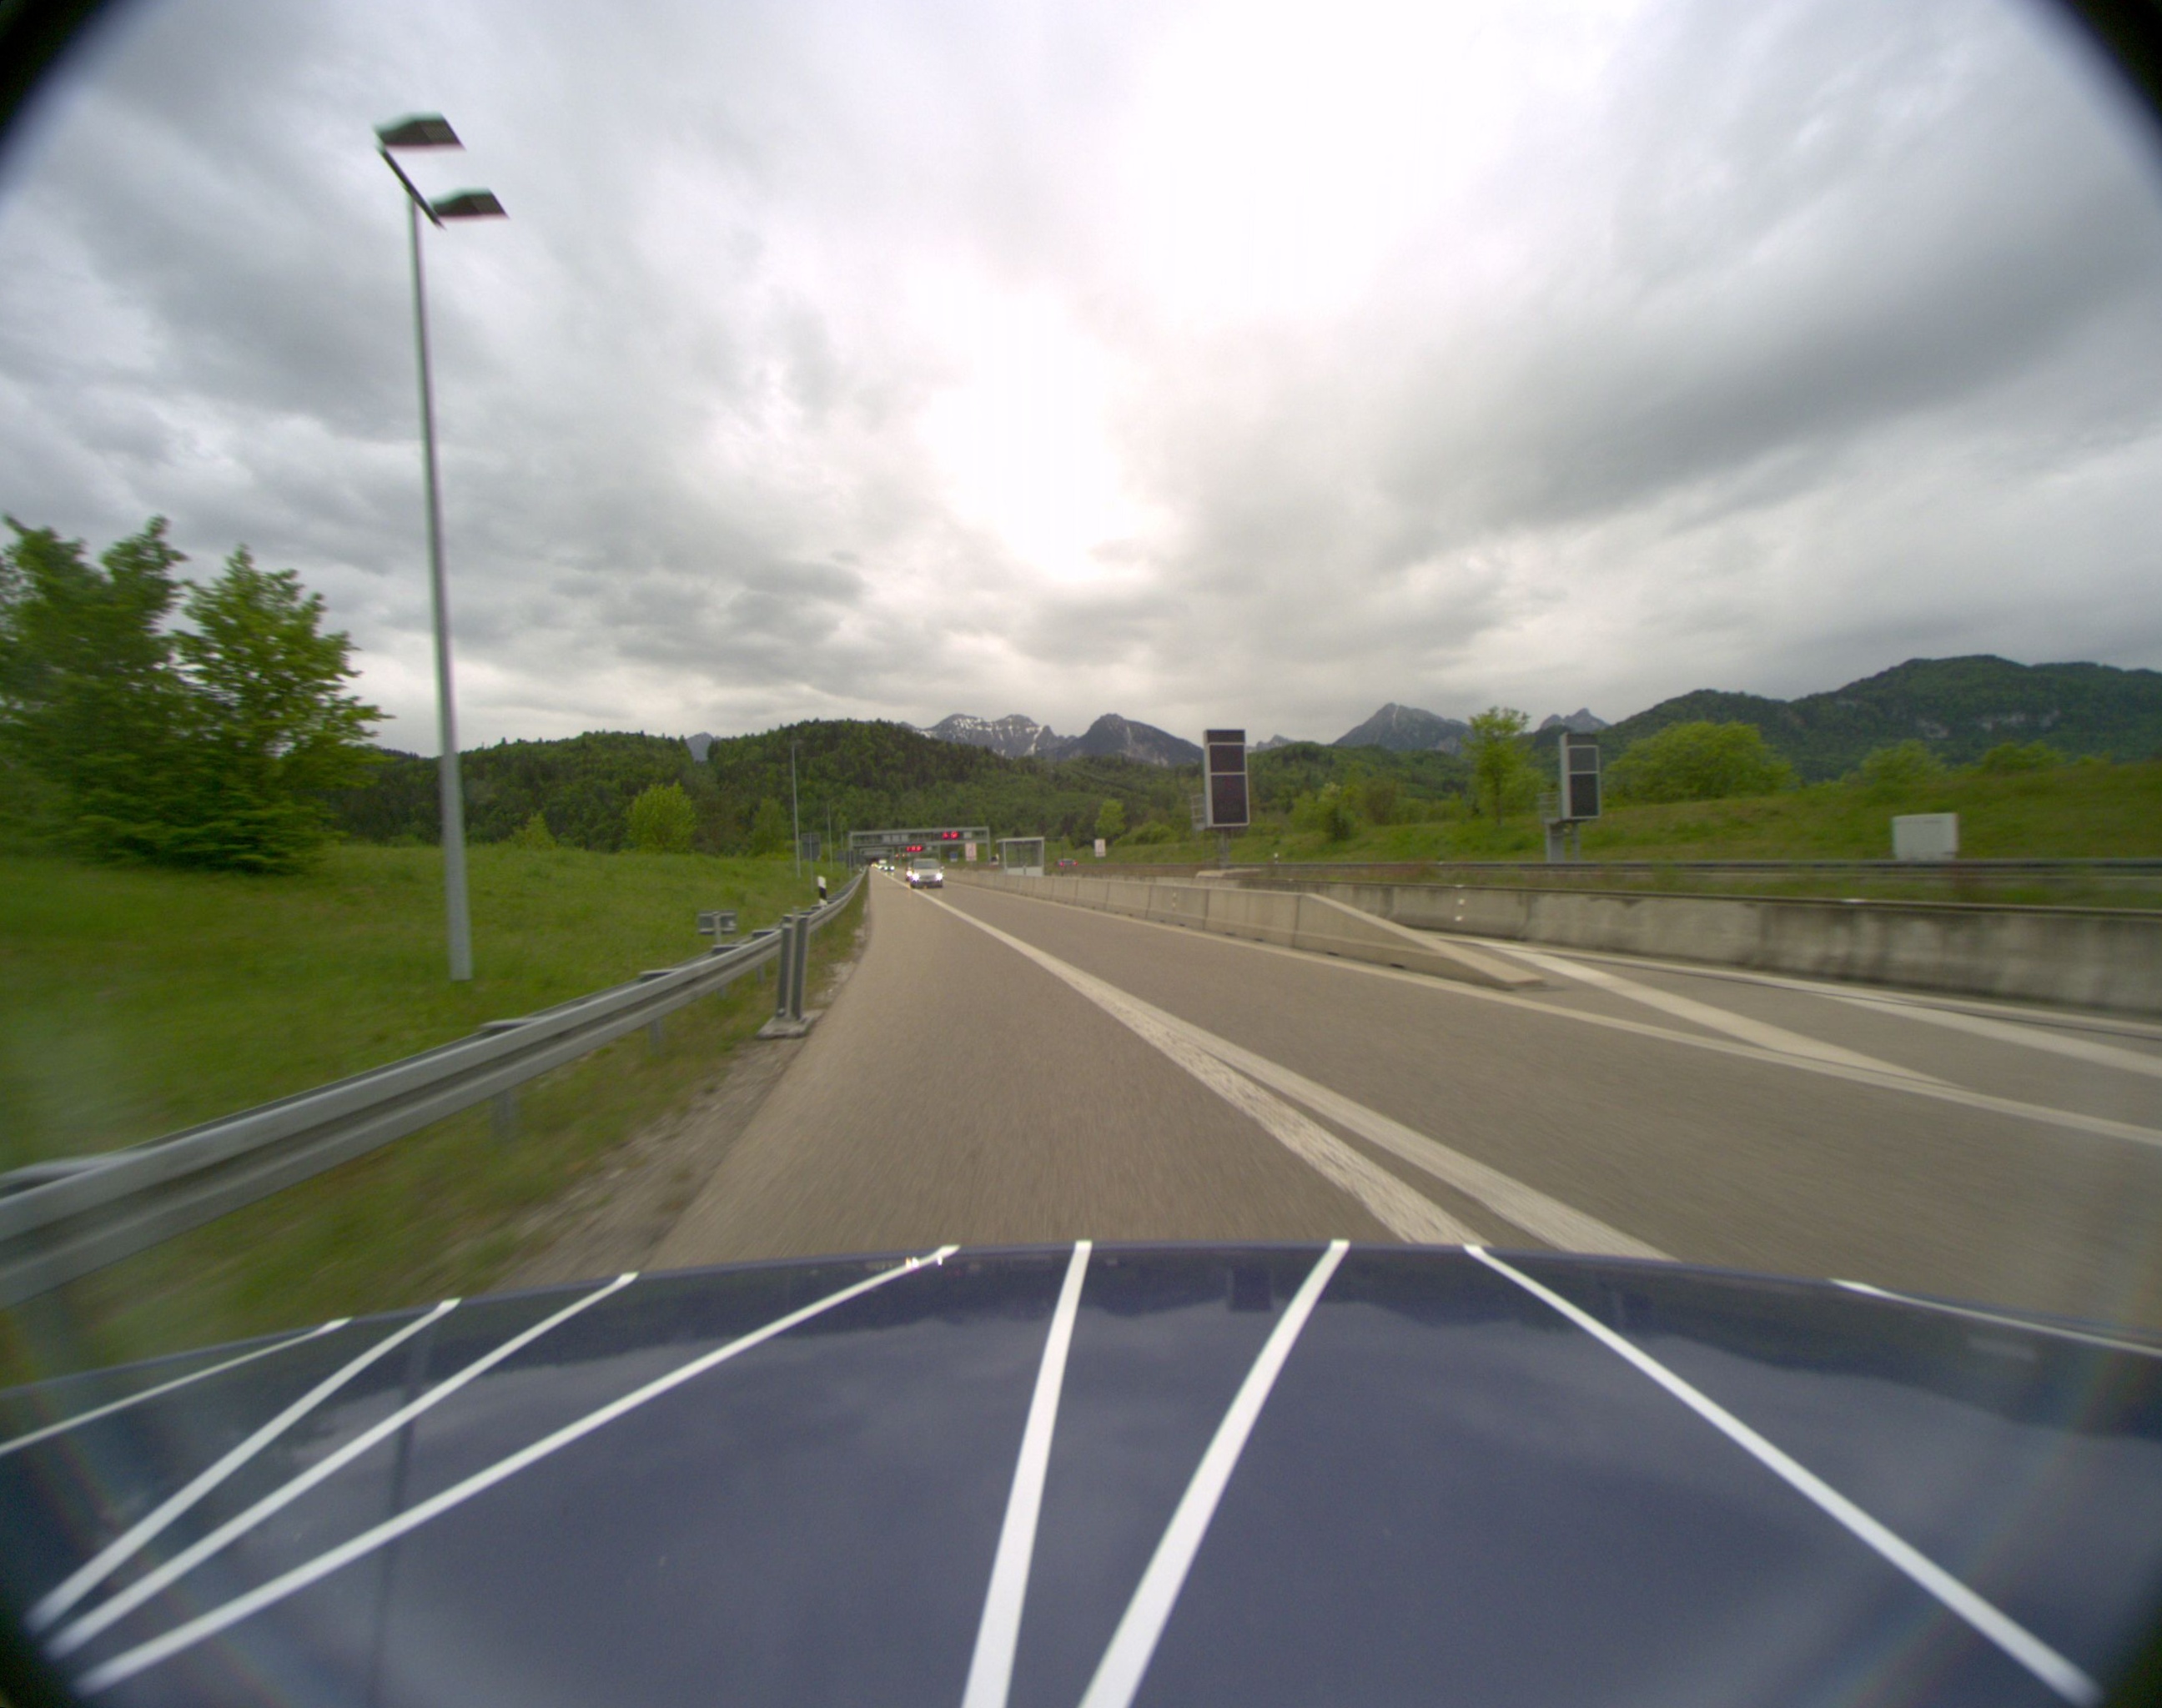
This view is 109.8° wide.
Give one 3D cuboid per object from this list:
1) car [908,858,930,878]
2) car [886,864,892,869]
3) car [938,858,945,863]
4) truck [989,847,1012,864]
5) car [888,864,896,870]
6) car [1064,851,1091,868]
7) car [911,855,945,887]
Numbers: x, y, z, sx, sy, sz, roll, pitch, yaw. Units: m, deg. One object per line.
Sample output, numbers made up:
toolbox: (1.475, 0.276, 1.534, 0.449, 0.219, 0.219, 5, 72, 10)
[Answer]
car: (-14.938, 1.273, 70.070, 1.758, 1.794, 3.995, -1, 0, -15)
car: (-62.189, 4.035, 245.596, 1.632, 1.688, 3.493, -1, 0, -11)
car: (-40.458, 1.835, 220.198, 1.708, 1.566, 4.171, -2, 0, -15)
truck: (-12.441, 0.295, 117.241, 2.366, 2.465, 5.980, -2, 0, -16)
car: (-42.440, 2.884, 170.710, 1.666, 1.329, 3.787, -1, 0, -15)
car: (-0.384, 0.541, 74.252, 1.613, 1.492, 3.833, -2, 0, -16)
car: (-9.990, 1.053, 49.279, 1.925, 1.871, 5.132, -1, 0, -13)
